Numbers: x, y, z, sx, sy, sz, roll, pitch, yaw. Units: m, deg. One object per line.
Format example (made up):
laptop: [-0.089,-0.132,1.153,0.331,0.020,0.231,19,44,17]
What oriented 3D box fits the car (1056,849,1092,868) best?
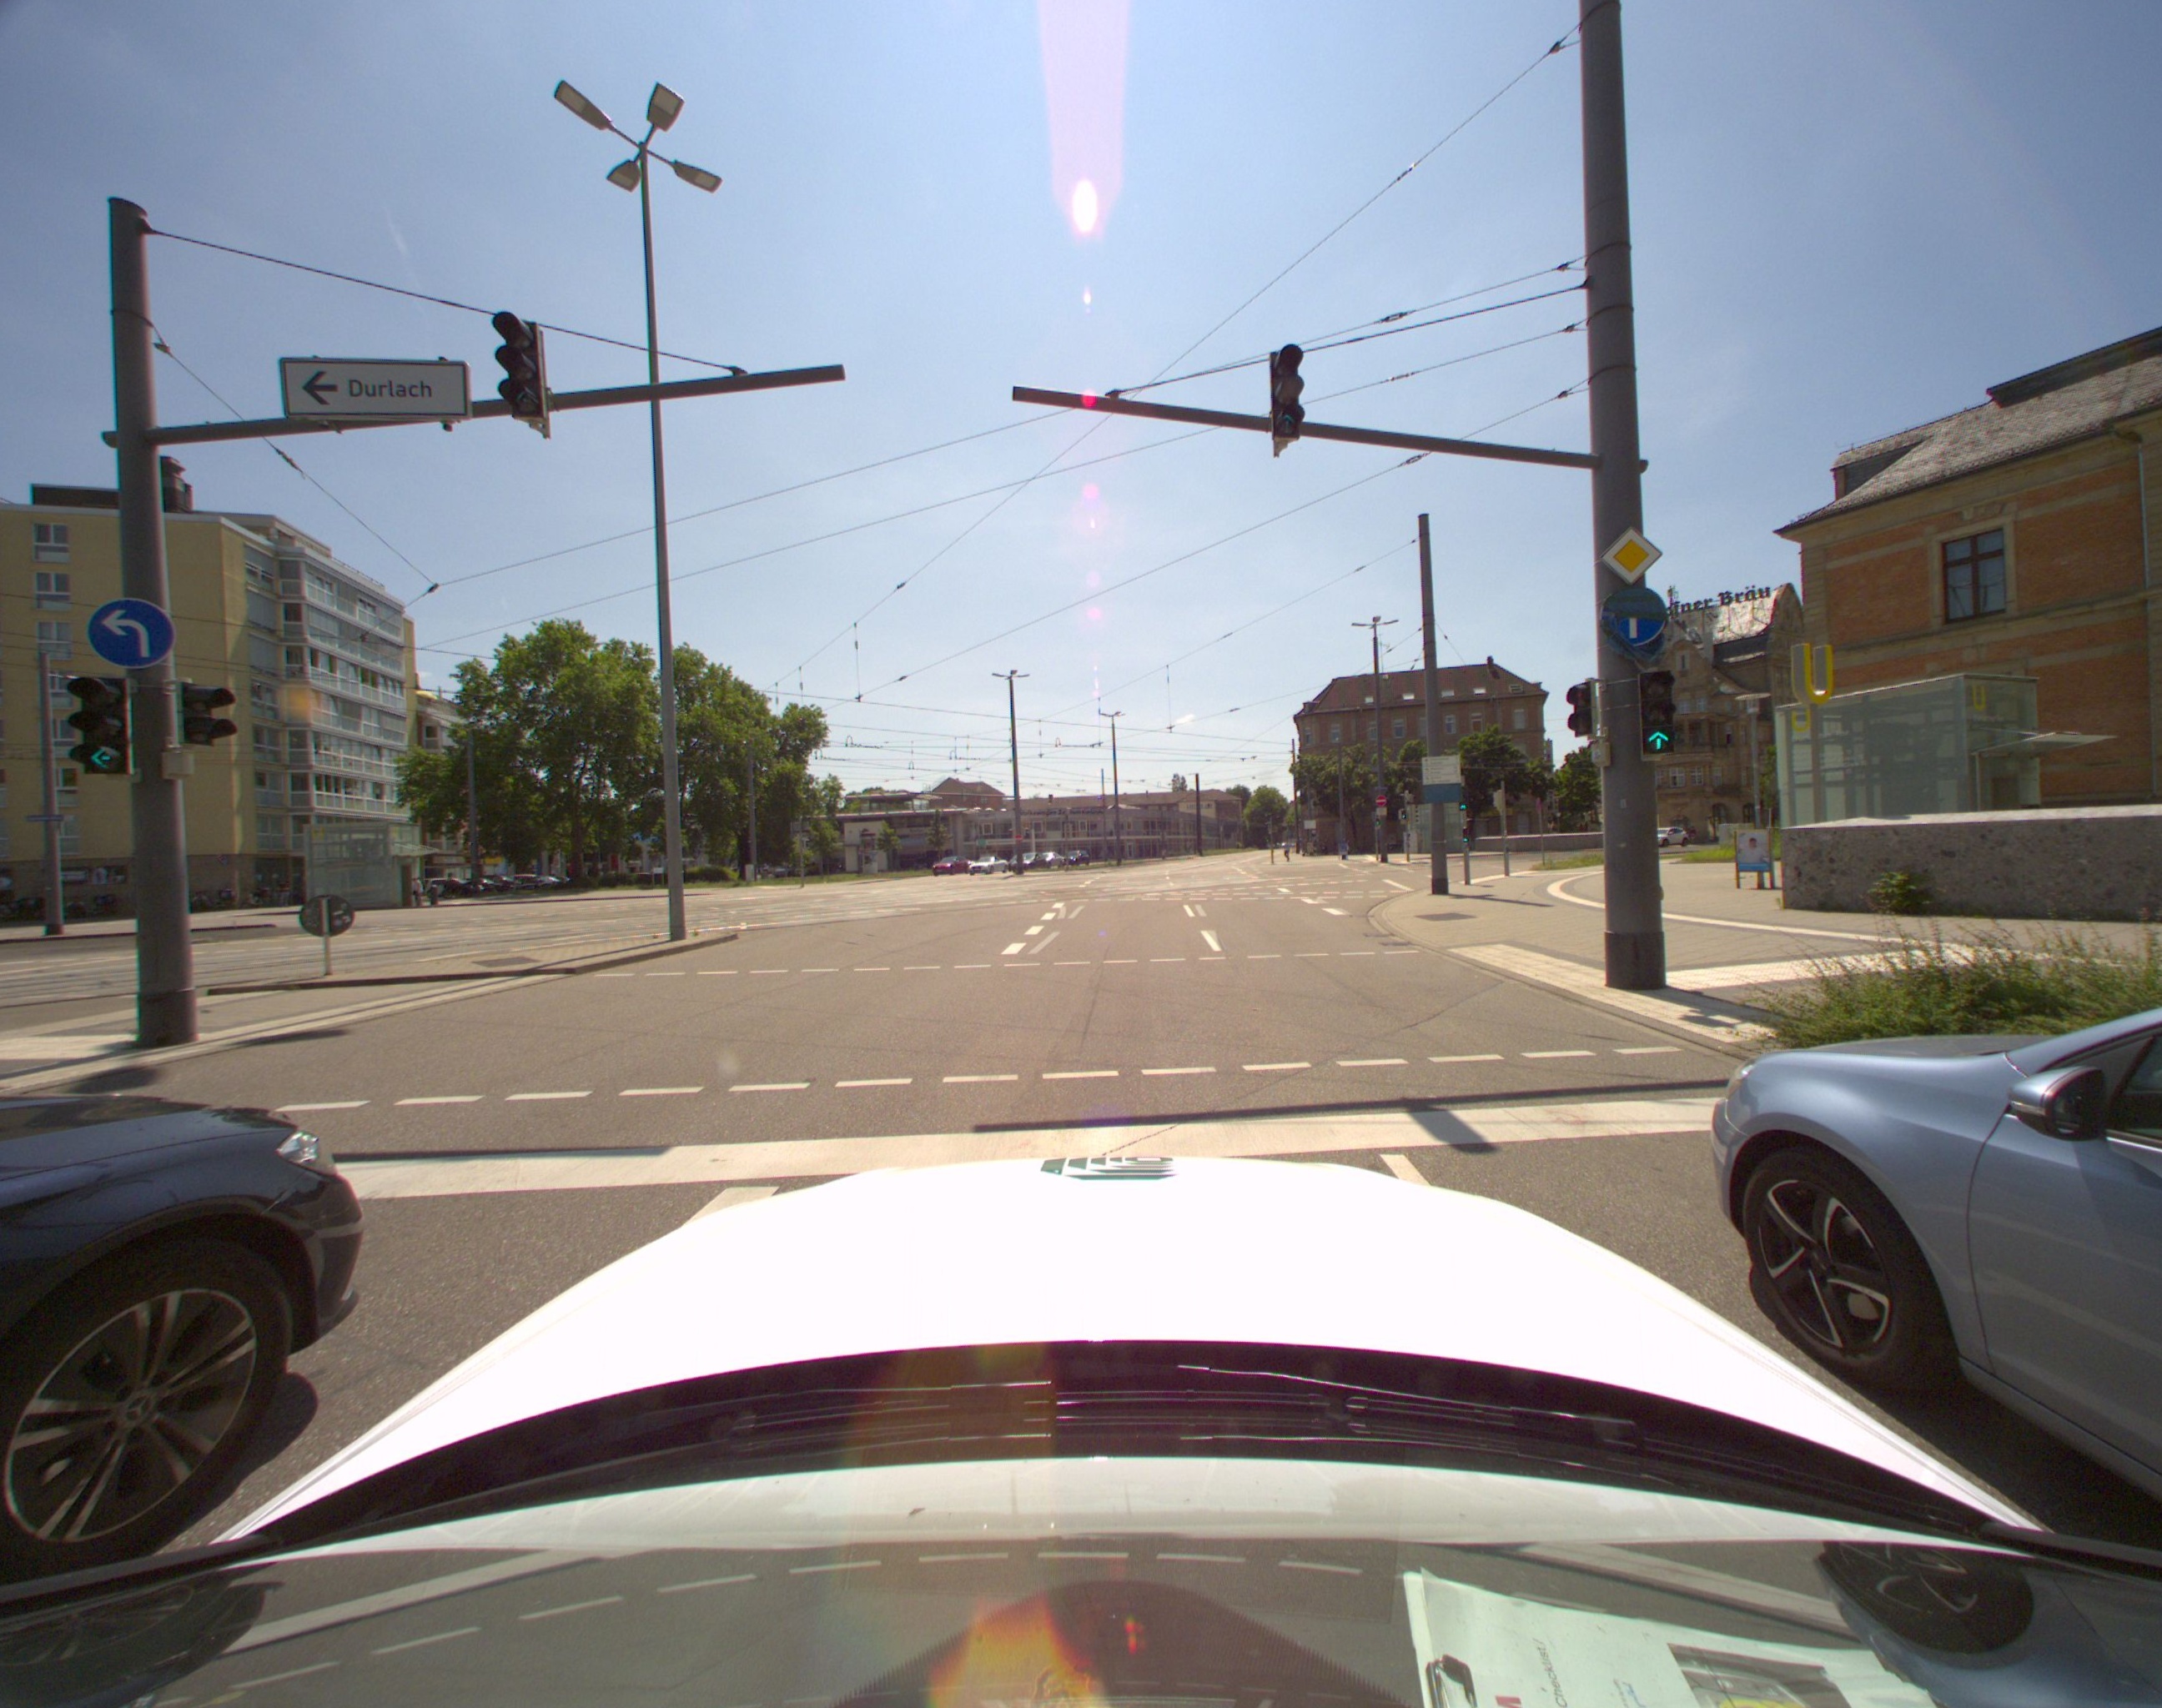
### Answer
car: [-0.676,0.440,83.152,2.061,1.682,4.870,-2,0,19]

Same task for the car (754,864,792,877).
car: [-40.926,2.183,108.214,4.343,1.510,1.754,-2,0,-33]

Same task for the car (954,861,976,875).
car: [-14.250,1.746,100.495,1.913,1.707,4.003,0,-1,3]

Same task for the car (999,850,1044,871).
car: [-5.094,0.539,70.460,1.977,1.700,4.870,-2,0,19]

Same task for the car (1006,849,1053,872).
car: [-4.024,0.465,64.598,1.977,1.637,4.870,-2,0,19]

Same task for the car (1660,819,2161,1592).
car: [2.855,0.655,0.854,1.646,1.459,4.003,-1,0,0]

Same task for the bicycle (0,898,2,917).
bicycle: [-58.783,2.891,43.933,0.435,1.026,1.426,-2,0,-42]

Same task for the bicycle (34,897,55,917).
bicycle: [-56.767,2.884,44.598,0.435,1.026,1.426,-2,0,-42]

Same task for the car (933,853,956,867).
car: [-16.829,0.785,100.719,1.913,1.707,4.003,0,-1,3]

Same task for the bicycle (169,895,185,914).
bicycle: [-51.072,2.858,46.022,0.435,1.026,1.426,-2,0,-42]

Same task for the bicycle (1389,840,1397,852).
bicycle: [29.778,-0.753,77.680,0.546,1.120,1.879,-2,0,18]

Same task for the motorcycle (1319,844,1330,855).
motorcycle: [23.464,-0.445,78.439,0.577,1.074,1.949,-2,0,6]

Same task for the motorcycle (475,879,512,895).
motorcycle: [-39.690,2.256,55.027,1.925,0.961,0.521,-2,0,-28]

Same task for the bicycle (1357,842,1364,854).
bicycle: [26.685,-0.613,77.841,0.546,1.120,1.829,-2,0,18]

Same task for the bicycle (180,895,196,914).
bicycle: [-50.648,2.857,46.209,0.435,1.026,1.426,-2,0,-42]

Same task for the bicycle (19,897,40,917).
bicycle: [-57.256,2.884,44.364,0.435,1.026,1.426,-2,0,-42]

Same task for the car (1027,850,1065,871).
car: [-3.264,0.568,76.358,1.977,1.739,4.565,-2,0,19]

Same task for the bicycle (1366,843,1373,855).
bicycle: [27.466,-0.517,77.675,0.546,1.120,1.829,-2,0,18]

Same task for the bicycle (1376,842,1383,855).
bicycle: [28.385,-0.527,77.496,0.546,1.120,1.898,-2,0,18]

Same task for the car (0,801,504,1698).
car: [-2.939,0.738,0.332,1.790,1.640,4.808,-1,0,3]

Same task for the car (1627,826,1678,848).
car: [46.725,-1.415,66.539,3.656,1.605,1.682,-2,0,-22]

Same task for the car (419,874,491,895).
car: [-48.722,2.364,63.480,4.004,1.420,1.985,-2,0,-23]

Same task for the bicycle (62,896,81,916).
bicycle: [-55.761,2.881,44.989,0.435,1.026,1.426,-2,0,-42]

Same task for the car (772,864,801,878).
car: [-37.081,2.149,102.660,1.760,1.510,4.330,-2,0,3]

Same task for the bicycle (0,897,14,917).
bicycle: [-58.311,2.889,44.058,0.435,1.026,1.426,-2,0,-42]

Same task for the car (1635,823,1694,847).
car: [44.338,-1.442,61.881,4.197,1.605,1.682,-2,0,-22]

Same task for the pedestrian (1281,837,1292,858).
pedestrian: [16.395,-0.515,65.003,0.463,1.708,0.635,-2,0,-25]

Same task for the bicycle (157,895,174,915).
bicycle: [-51.537,2.860,45.855,0.435,1.026,1.426,-2,0,-42]

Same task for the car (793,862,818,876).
car: [-34.564,1.864,102.101,1.763,1.510,4.323,-2,0,-2]

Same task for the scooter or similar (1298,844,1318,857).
scooter or similar: [22.665,-0.324,81.221,1.788,1.181,0.597,-2,0,-13]

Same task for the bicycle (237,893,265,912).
bicycle: [-49.115,2.869,48.178,0.432,1.026,1.437,-2,0,-14]

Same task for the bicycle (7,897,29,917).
bicycle: [-57.711,2.886,44.207,0.435,1.026,1.426,-2,0,-42]

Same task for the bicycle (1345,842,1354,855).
bicycle: [25.741,-0.506,78.082,0.440,1.146,2.099,-1,-1,9]

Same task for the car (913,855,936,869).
car: [-19.343,0.999,100.603,1.913,1.707,4.003,0,-1,3]

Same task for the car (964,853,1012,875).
car: [-7.307,0.760,64.385,2.061,1.580,4.866,-2,0,15]

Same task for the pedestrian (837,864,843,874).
pedestrian: [-29.116,1.849,98.532,0.510,1.204,0.446,-2,0,7]

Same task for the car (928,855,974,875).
car: [-11.007,0.924,69.328,1.978,1.465,4.866,-2,0,16]

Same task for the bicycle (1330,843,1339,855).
bicycle: [24.351,-0.507,78.280,0.548,1.120,1.825,-2,0,9]

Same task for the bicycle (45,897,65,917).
bicycle: [-56.260,2.881,44.670,0.435,1.026,1.426,-2,0,-42]
